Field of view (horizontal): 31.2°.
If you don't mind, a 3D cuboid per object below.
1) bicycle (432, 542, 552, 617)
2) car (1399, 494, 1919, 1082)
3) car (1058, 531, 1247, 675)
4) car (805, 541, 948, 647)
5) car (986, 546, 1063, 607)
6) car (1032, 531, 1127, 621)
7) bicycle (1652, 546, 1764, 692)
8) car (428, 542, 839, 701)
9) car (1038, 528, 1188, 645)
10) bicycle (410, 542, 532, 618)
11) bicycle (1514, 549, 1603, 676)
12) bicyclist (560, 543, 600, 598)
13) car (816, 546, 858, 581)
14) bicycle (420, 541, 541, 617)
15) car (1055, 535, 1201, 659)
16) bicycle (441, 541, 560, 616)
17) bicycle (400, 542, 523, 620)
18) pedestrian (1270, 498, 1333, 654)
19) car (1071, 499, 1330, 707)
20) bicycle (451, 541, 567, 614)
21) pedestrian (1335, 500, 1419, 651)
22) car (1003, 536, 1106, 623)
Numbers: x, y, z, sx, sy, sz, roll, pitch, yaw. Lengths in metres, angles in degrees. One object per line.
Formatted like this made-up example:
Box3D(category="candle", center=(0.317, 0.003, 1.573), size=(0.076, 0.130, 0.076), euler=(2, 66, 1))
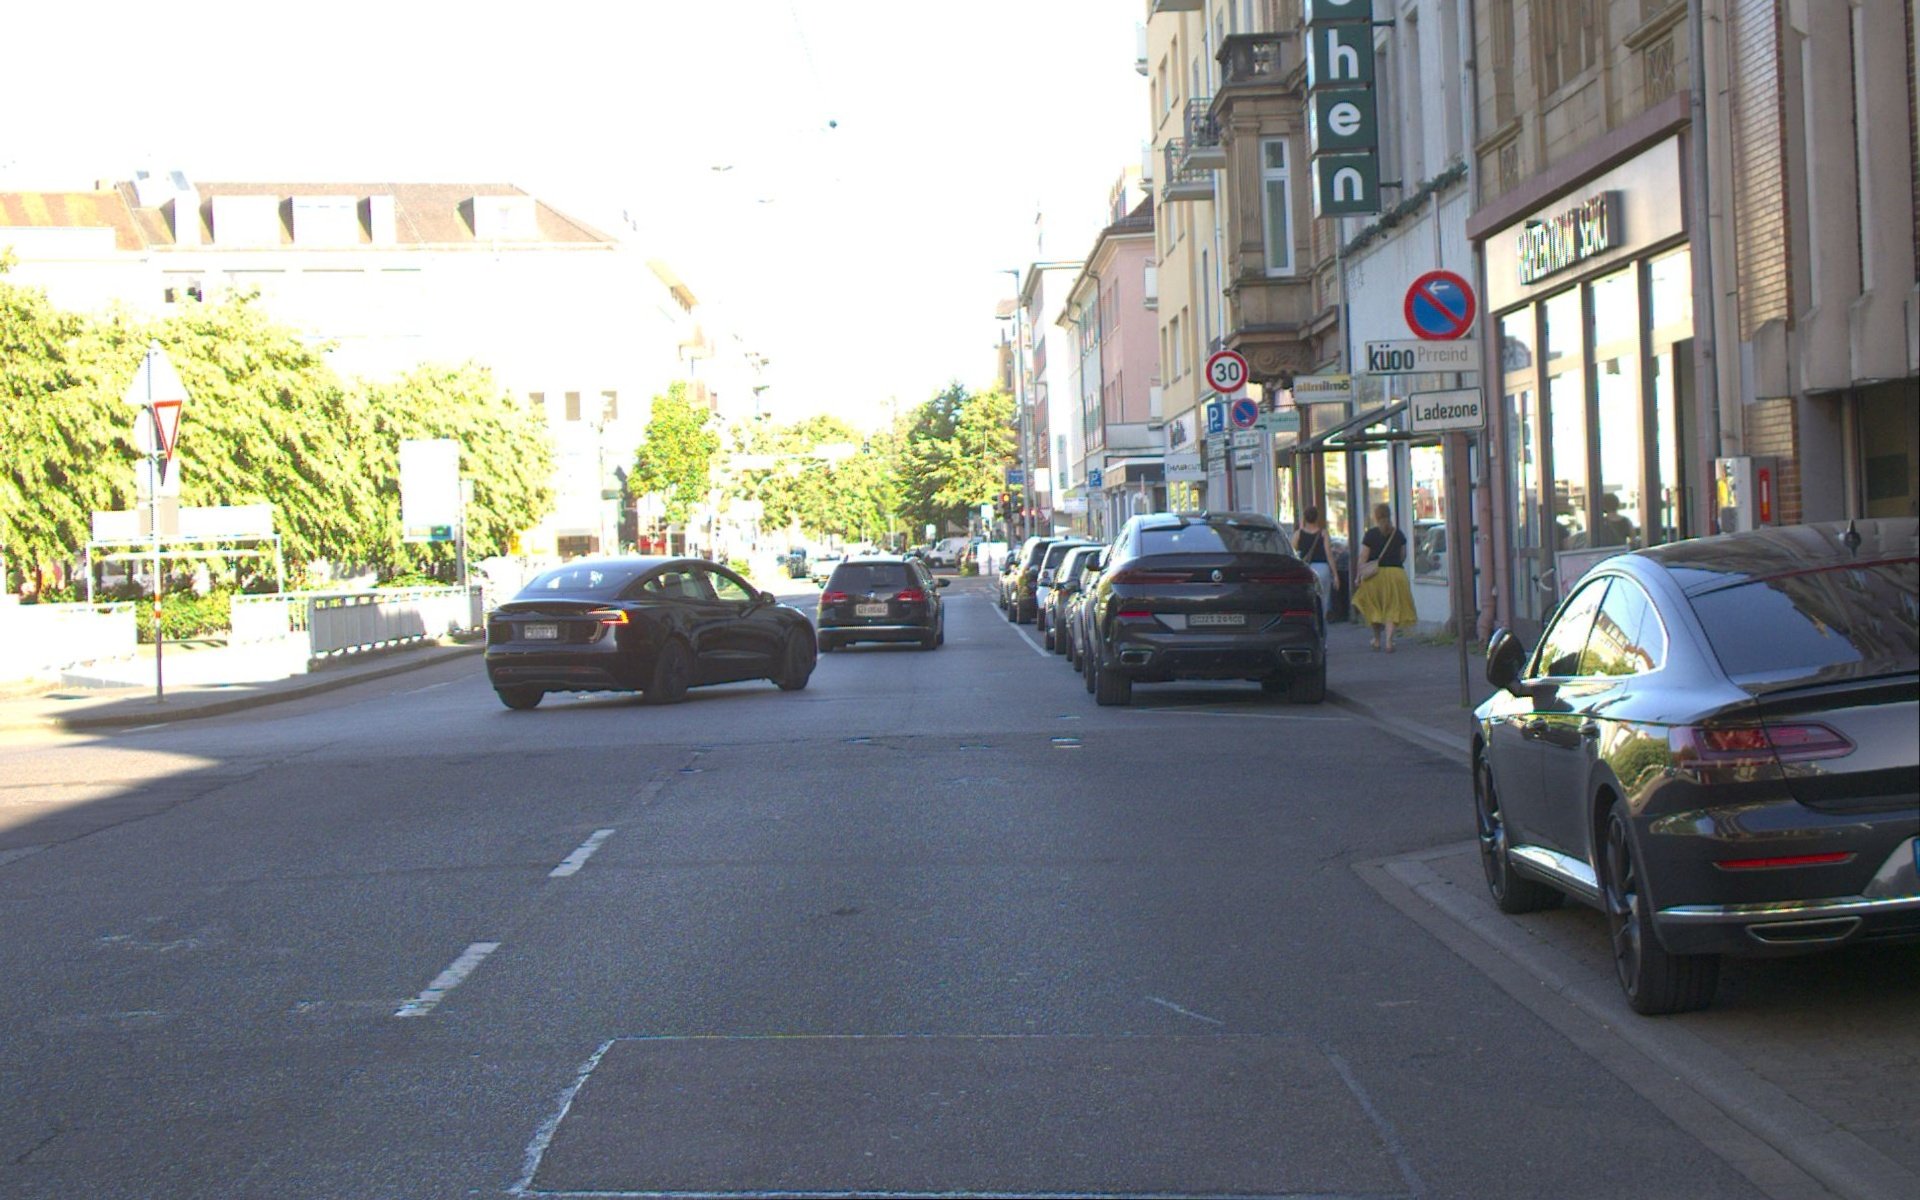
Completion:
Box3D(category="bicycle", center=(-13.071, -0.578, 96.026), size=(3.122, 2.007, 0.908), euler=(-1, 1, 9))
Box3D(category="car", center=(2.875, 0.444, 11.903), size=(1.917, 1.473, 4.965), euler=(-6, 1, 0))
Box3D(category="car", center=(2.083, -0.009, 38.229), size=(1.839, 1.482, 4.184), euler=(-1, 1, 0))
Box3D(category="car", center=(-1.222, -0.121, 52.196), size=(1.935, 1.482, 4.271), euler=(-2, 1, 1))
Box3D(category="car", center=(1.581, -0.559, 84.843), size=(1.792, 1.455, 3.868), euler=(-1, 0, 0))
Box3D(category="car", center=(2.122, -0.447, 61.516), size=(1.613, 1.541, 2.855), euler=(-1, 1, 1))
Box3D(category="bicycle", center=(5.641, 0.124, 25.992), size=(0.358, 1.041, 1.791), euler=(-4, 1, -1))
Box3D(category="car", center=(-3.170, 0.205, 34.393), size=(1.998, 1.475, 4.488), euler=(-1, 0, 27))
Box3D(category="car", center=(2.108, -0.224, 48.467), size=(1.839, 1.541, 4.229), euler=(-1, 1, -1))
Box3D(category="bicycle", center=(-13.370, -0.551, 93.990), size=(3.122, 2.007, 0.908), euler=(-1, 1, 9))
Box3D(category="bicycle", center=(5.402, 0.094, 31.105), size=(0.358, 1.081, 1.942), euler=(-4, 1, -1))
Box3D(category="bicyclist", center=(-11.845, -0.925, 107.156), size=(1.146, 1.680, 0.819), euler=(-2, 1, -3))
Box3D(category="car", center=(-6.529, -1.935, 182.662), size=(1.993, 1.765, 4.000), euler=(-1, 2, 1))
Box3D(category="bicycle", center=(-13.235, -0.581, 94.981), size=(3.122, 2.007, 0.908), euler=(-1, 1, 9))
Box3D(category="car", center=(2.056, -0.068, 42.883), size=(1.608, 1.444, 3.830), euler=(-1, 1, 0))
Box3D(category="bicycle", center=(-12.976, -0.609, 97.109), size=(3.122, 2.007, 0.908), euler=(-1, 1, 9))
Box3D(category="bicycle", center=(-13.480, -0.522, 93.034), size=(3.122, 2.007, 0.908), euler=(-1, 1, 9))
Box3D(category="pedestrian", center=(3.905, -0.276, 39.340), size=(0.620, 1.760, 0.518), euler=(-2, 1, 2))
Box3D(category="car", center=(2.094, -0.032, 31.222), size=(1.973, 1.719, 4.824), euler=(-1, 1, 0))
Box3D(category="bicycle", center=(-12.869, -0.649, 98.146), size=(3.122, 2.007, 0.908), euler=(-1, 1, 9))
Box3D(category="pedestrian", center=(4.773, -0.285, 39.397), size=(0.801, 1.669, 0.589), euler=(-4, 1, 2))
Box3D(category="car", center=(1.815, -0.379, 67.091), size=(1.716, 1.630, 4.084), euler=(-1, 0, -2))
